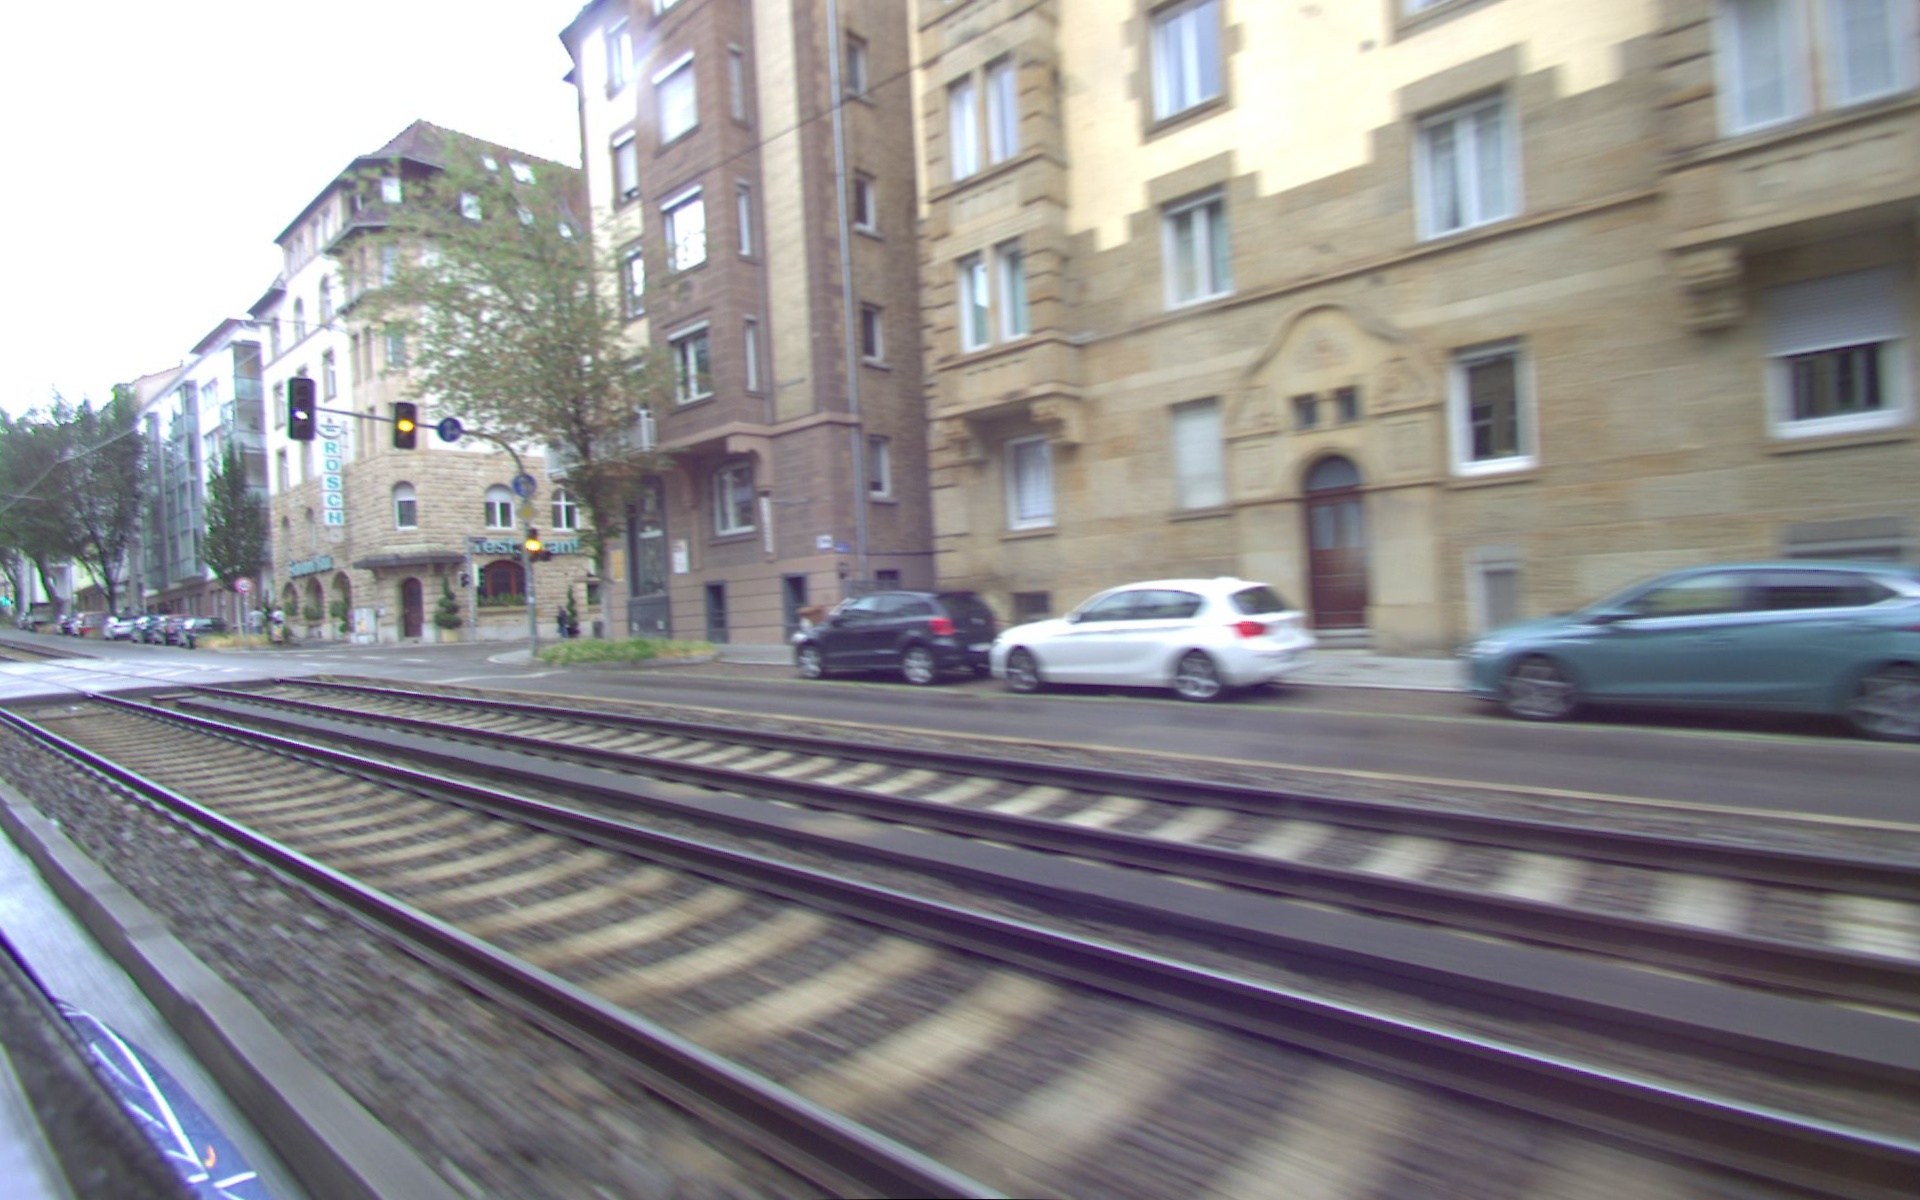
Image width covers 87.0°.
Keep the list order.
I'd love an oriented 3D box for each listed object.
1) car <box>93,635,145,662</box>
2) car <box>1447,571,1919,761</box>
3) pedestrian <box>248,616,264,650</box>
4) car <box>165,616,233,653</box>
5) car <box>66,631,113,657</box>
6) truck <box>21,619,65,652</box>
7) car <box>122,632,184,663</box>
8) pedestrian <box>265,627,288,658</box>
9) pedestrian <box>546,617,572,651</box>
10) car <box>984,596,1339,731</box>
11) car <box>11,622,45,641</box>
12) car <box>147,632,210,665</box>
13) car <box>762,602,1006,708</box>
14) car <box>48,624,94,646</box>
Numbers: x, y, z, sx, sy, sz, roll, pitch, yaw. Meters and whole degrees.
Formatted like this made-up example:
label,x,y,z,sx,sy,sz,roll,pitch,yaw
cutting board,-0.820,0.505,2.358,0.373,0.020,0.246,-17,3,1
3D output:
label,x,y,z,sx,sy,sz,roll,pitch,yaw
car,-49.482,2.805,59.508,4.129,1.345,1.684,-1,3,42
car,6.870,0.522,9.152,4.144,1.449,1.545,-2,0,42
pedestrian,-33.272,1.553,47.827,0.644,1.582,0.511,0,0,45
car,-35.637,1.594,47.341,3.893,1.564,1.746,-2,0,41
car,-57.812,2.882,67.217,4.156,1.581,1.758,-1,0,41
truck,-73.827,2.813,81.421,6.353,2.363,2.168,1,1,44
car,-42.781,2.499,53.641,4.428,1.466,1.782,-2,0,41
pedestrian,-32.730,2.013,48.454,0.645,1.432,0.746,-2,0,43
pedestrian,-17.630,1.486,44.489,0.721,1.426,0.808,-2,0,44
car,2.457,0.731,13.093,4.263,1.436,1.649,-2,0,43
car,-81.309,2.724,88.297,4.359,1.471,1.687,-1,2,42
car,-39.232,2.390,50.788,3.523,1.509,1.789,-2,1,40
car,-1.333,0.828,16.715,3.999,1.497,1.746,-1,0,42
car,-63.280,2.480,72.018,4.466,1.451,1.887,-1,0,41
